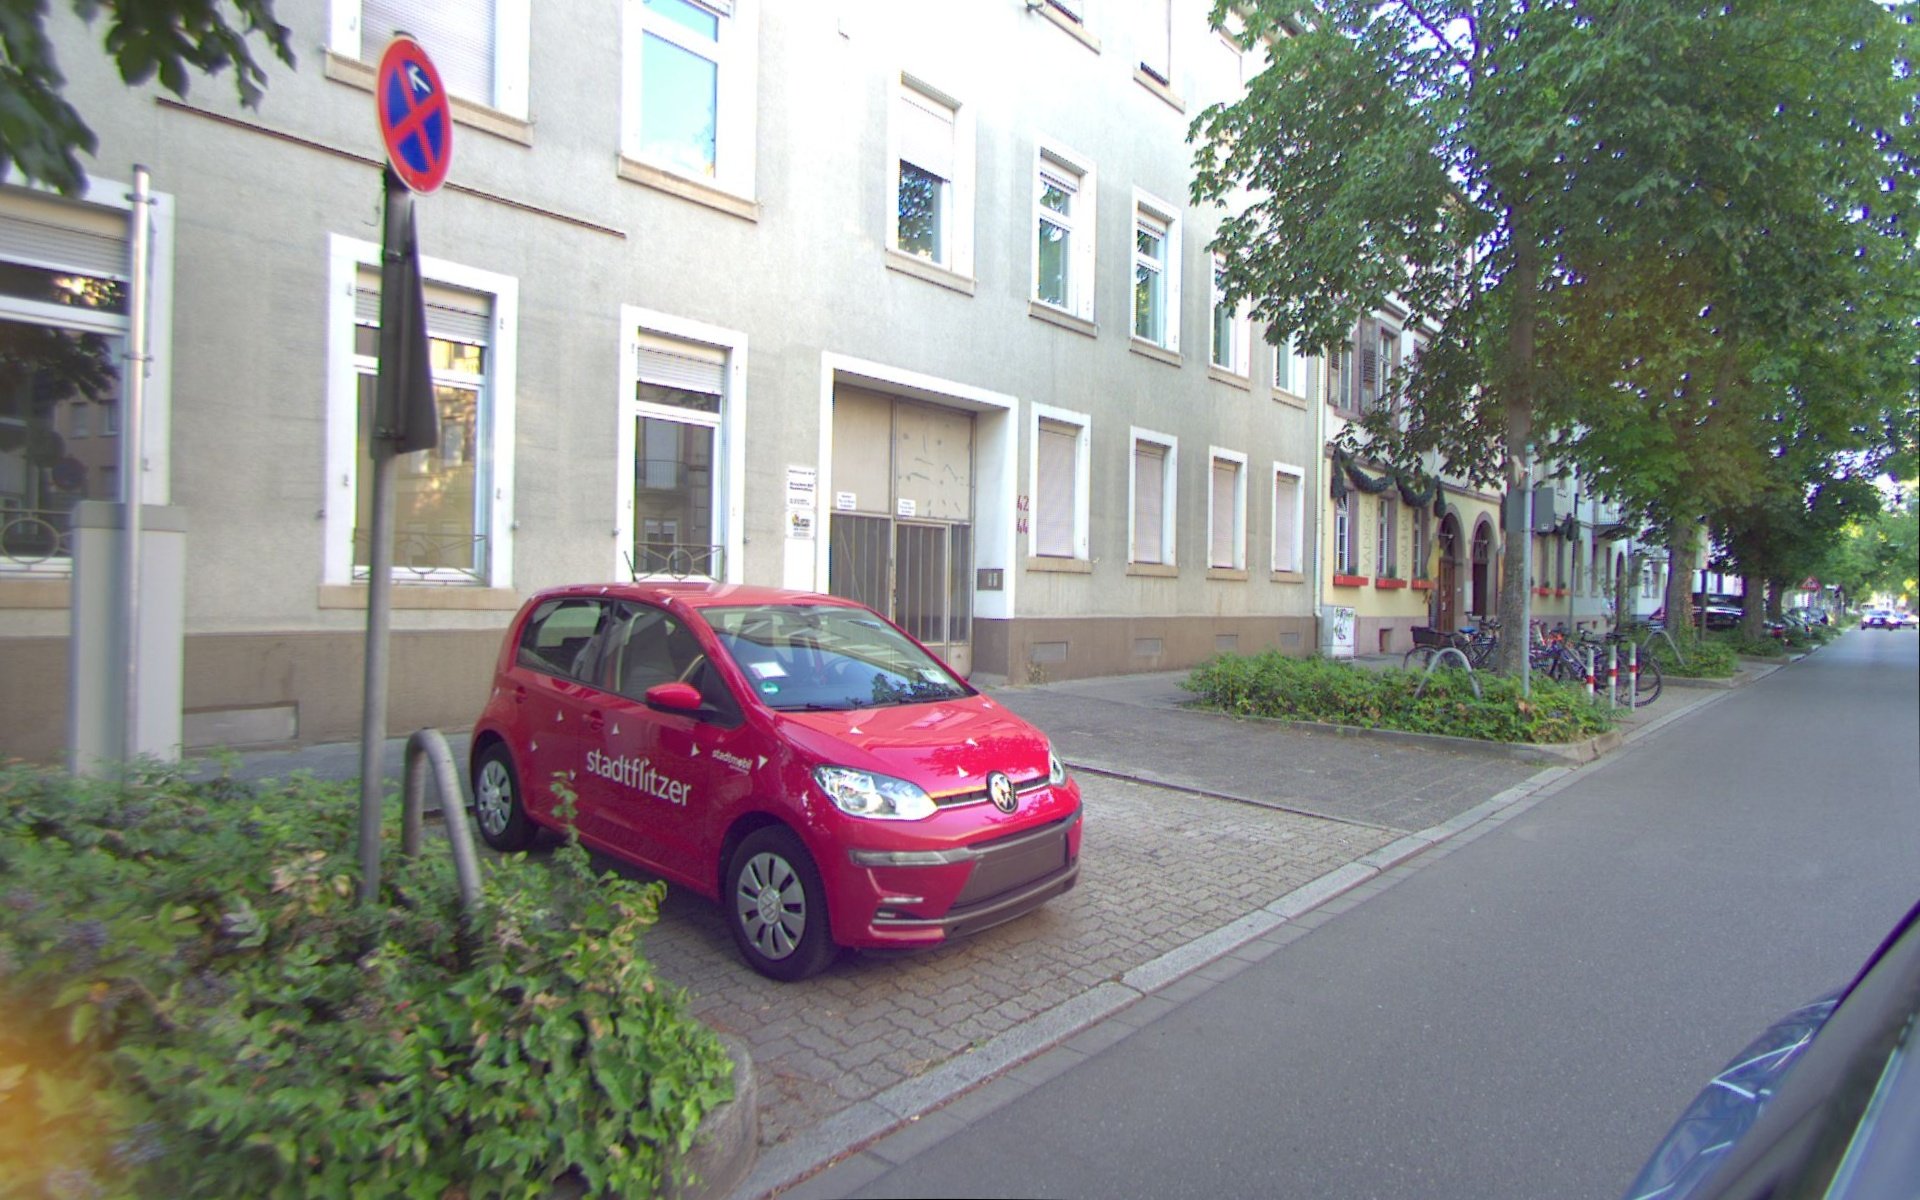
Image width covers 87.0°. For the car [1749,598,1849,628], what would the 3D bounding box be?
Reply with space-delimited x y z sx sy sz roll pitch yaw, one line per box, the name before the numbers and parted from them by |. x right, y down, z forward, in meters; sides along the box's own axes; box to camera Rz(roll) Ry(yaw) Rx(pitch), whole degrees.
car | 50.169 0.739 60.568 1.748 1.633 4.434 1 0 -45

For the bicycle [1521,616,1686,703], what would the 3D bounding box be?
bicycle | 9.629 0.857 15.215 2.036 1.160 0.439 2 1 45

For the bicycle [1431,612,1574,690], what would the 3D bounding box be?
bicycle | 8.897 0.808 16.676 2.035 1.160 0.415 2 1 43

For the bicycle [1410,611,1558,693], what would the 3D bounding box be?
bicycle | 8.222 0.783 15.970 0.439 1.160 2.038 1 1 -42

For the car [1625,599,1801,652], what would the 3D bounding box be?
car | 24.504 0.784 33.046 1.748 1.524 4.434 1 0 -45

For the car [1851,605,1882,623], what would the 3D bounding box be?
car | 75.092 1.172 83.801 1.822 1.390 3.937 1 1 43

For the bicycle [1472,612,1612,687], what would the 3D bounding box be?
bicycle | 9.928 0.818 17.331 2.035 1.160 0.415 2 1 43

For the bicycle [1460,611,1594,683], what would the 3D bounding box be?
bicycle | 10.115 0.814 18.110 2.035 1.160 0.415 2 1 43

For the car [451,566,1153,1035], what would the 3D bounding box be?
car | -1.027 0.615 5.114 3.654 1.494 1.542 2 1 42

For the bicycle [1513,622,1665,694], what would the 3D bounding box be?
bicycle | 10.141 0.908 16.384 2.035 1.016 0.415 2 1 43

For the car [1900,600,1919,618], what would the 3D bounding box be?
car | 84.582 0.832 88.127 3.939 1.551 1.779 1 0 -7

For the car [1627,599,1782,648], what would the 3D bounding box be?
car | 27.603 0.814 37.628 1.748 1.633 4.434 1 0 -45

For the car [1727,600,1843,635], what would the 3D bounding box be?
car | 41.871 0.864 51.413 1.748 1.633 4.434 1 0 -45

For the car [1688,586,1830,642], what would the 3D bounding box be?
car | 32.944 0.547 41.791 1.748 2.150 4.434 1 0 -45

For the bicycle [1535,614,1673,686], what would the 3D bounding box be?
bicycle | 11.536 0.873 18.180 2.035 1.160 0.415 2 1 43
